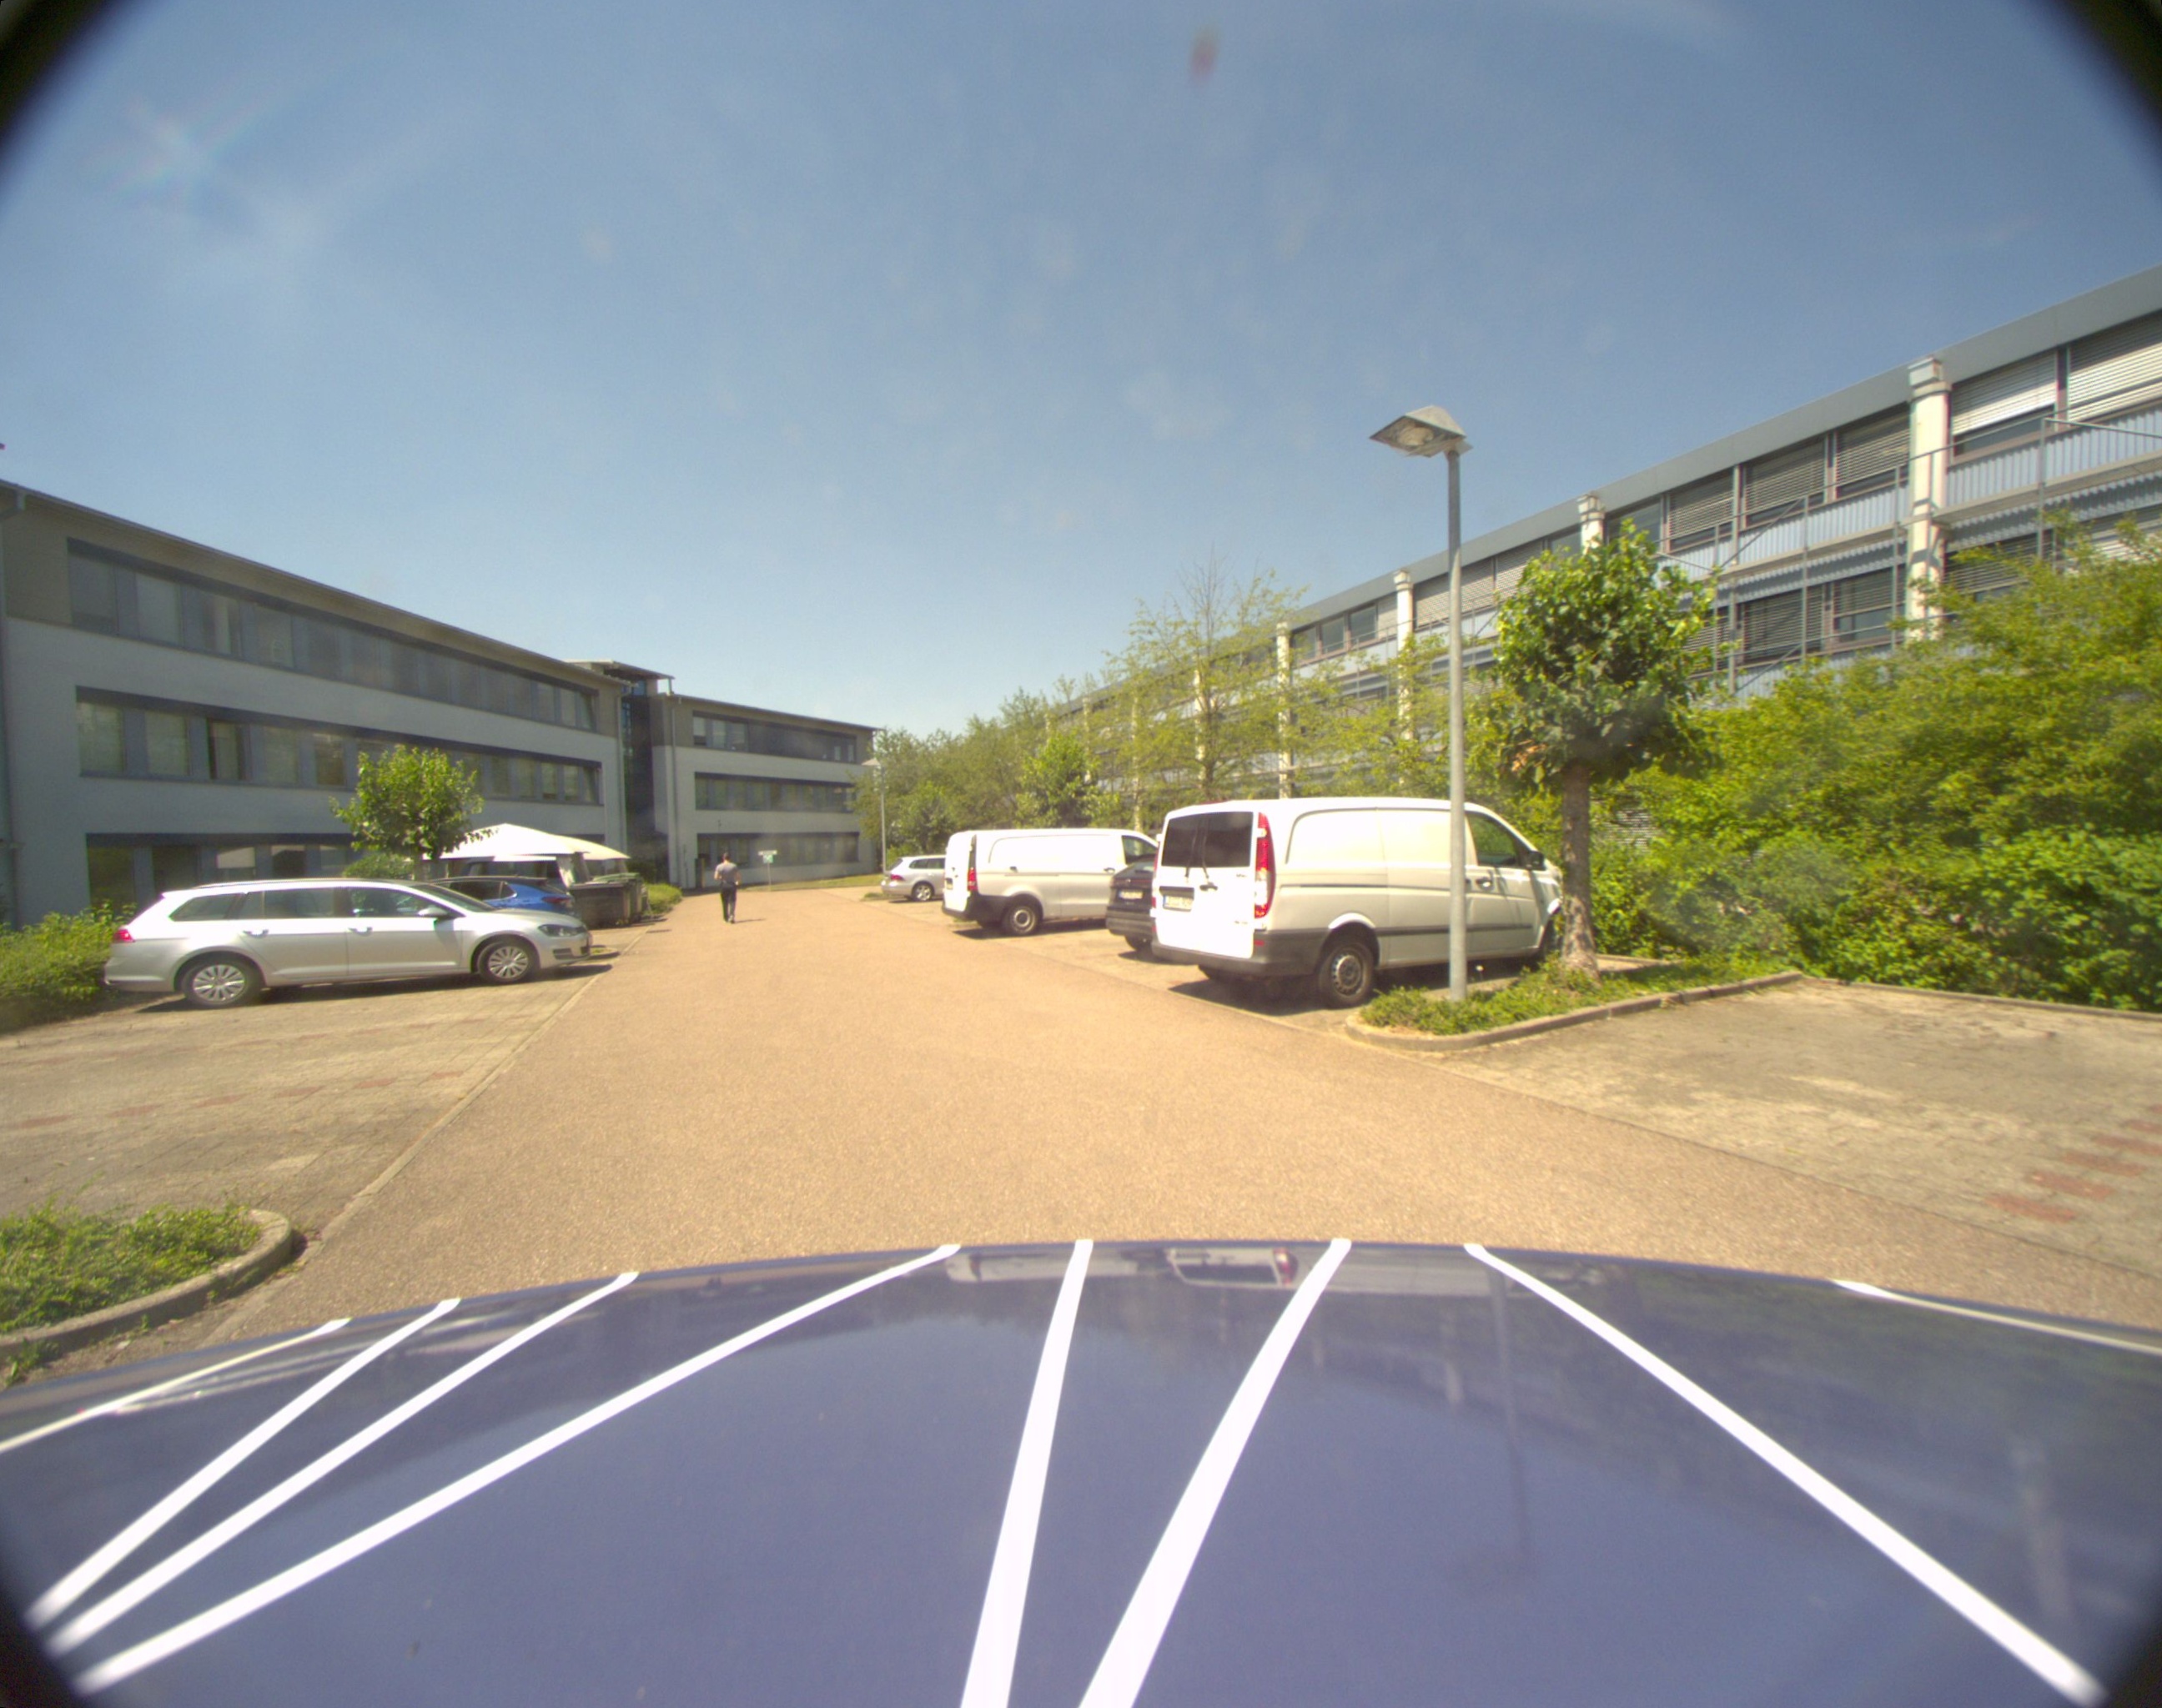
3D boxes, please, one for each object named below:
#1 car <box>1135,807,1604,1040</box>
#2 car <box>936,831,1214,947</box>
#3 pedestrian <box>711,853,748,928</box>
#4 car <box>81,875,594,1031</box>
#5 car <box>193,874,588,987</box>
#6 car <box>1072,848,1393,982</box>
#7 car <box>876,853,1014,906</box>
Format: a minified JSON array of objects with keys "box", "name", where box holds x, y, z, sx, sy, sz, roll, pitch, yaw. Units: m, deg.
[{"box":[3.089,0.503,7.968,4.683,1.849,1.864,-2,1,-26],"name":"car"},{"box":[-0.082,0.559,14.525,4.940,1.845,1.853,-2,1,-24],"name":"car"},{"box":[-8.589,0.869,18.610,0.699,1.747,0.775,-3,2,-22],"name":"pedestrian"},{"box":[-9.174,1.118,10.005,4.433,1.511,1.853,-1,0,-26],"name":"car"},{"box":[-11.308,1.167,12.979,4.619,1.485,1.853,-1,0,-26],"name":"car"},{"box":[2.161,0.718,10.679,4.203,1.475,1.736,-2,1,-26],"name":"car"},{"box":[-4.409,0.769,24.611,4.089,1.475,1.736,-2,1,-23],"name":"car"}]
